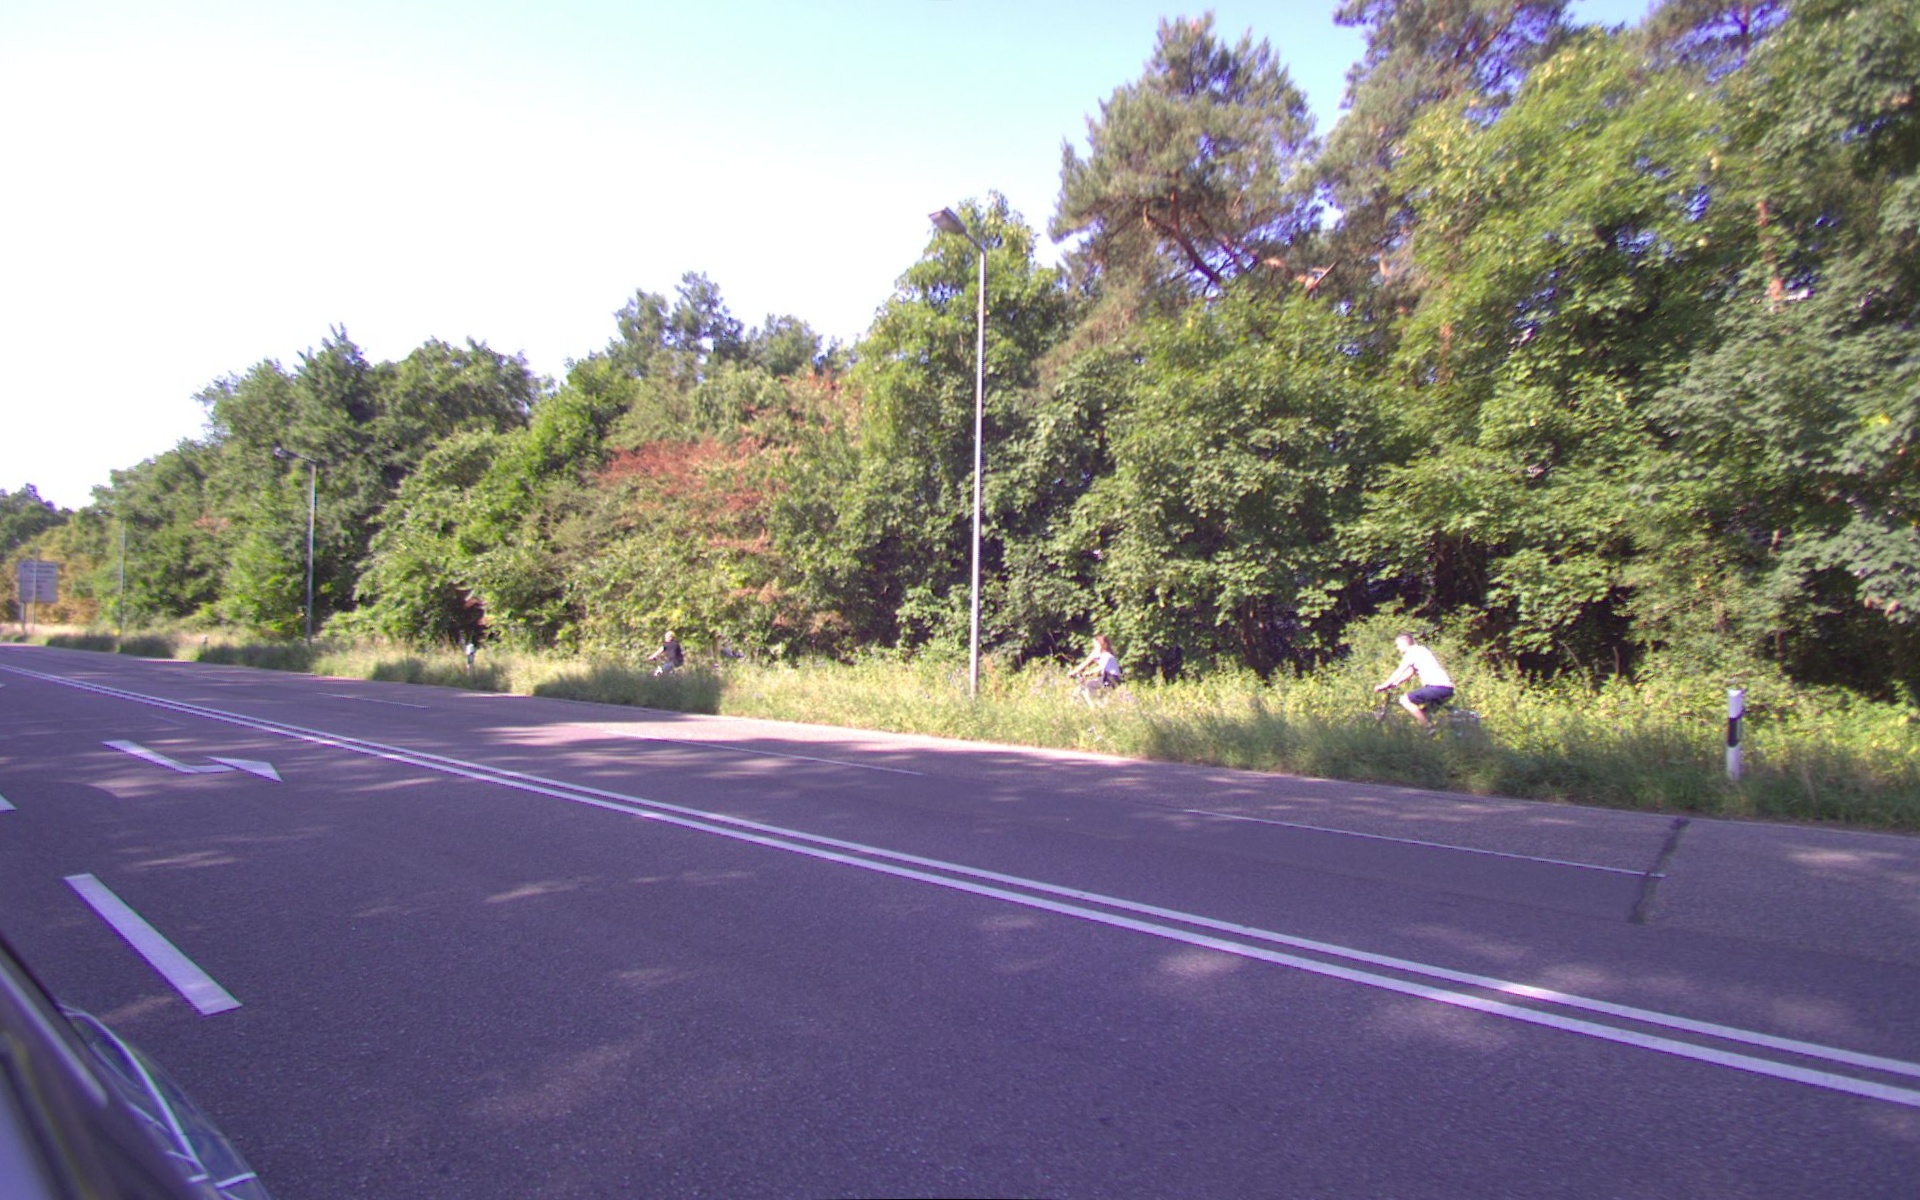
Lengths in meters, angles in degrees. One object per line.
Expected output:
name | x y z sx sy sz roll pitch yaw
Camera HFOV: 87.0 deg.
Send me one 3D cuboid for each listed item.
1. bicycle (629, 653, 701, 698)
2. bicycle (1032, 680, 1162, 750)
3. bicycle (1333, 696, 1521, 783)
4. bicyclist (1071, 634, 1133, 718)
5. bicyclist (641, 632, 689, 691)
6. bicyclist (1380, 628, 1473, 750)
bicycle | -7.102 1.805 24.325 1.911 0.963 0.668 -1 0 38
bicycle | 2.198 1.835 16.448 2.138 0.965 0.597 -1 -3 42
bicycle | 6.002 1.770 13.114 2.138 0.921 0.597 -1 -3 42
bicyclist | 2.291 1.210 16.343 0.727 1.273 0.693 -1 0 42
bicyclist | -7.086 1.449 24.312 0.974 1.352 0.668 -1 0 38
bicyclist | 6.011 1.115 13.040 0.944 1.477 0.604 -1 0 42
